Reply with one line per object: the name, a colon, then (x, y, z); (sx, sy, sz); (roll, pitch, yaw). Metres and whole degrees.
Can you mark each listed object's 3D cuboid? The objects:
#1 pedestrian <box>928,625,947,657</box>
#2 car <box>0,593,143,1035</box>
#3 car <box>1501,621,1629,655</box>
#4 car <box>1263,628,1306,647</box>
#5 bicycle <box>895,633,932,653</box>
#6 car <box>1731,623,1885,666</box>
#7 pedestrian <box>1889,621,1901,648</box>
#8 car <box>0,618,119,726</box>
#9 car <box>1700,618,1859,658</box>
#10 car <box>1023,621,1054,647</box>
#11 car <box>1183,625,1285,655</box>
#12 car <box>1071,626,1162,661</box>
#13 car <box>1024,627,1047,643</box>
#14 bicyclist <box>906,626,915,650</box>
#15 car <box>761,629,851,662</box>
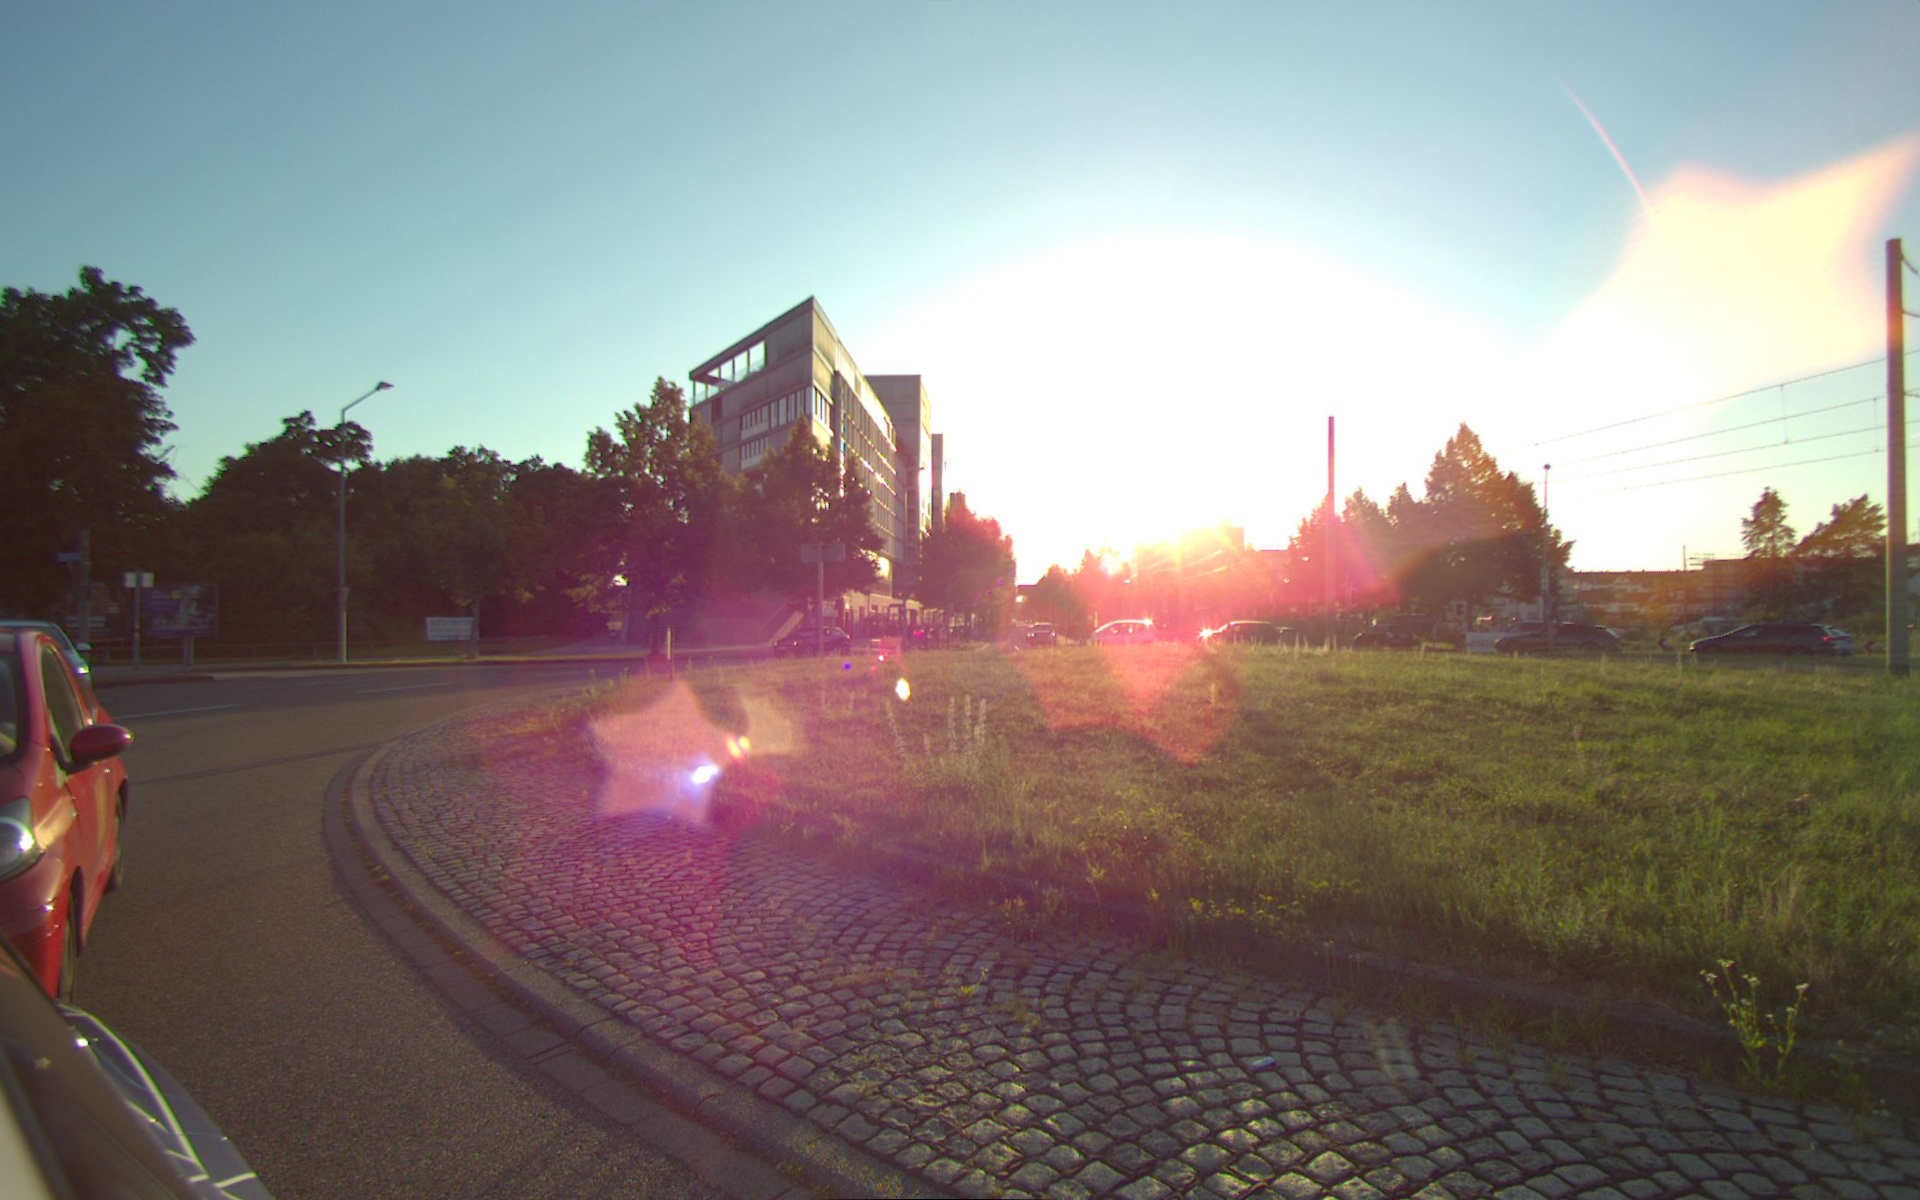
pedestrian: (-1.442, 2.595, 64.535); (0.995, 2.029, 0.768); (-1, 0, 29)
car: (-4.832, 0.722, 4.504); (1.662, 1.431, 4.009); (1, -1, -36)
car: (25.723, 1.597, 43.105); (4.351, 1.386, 1.972); (-1, -2, 42)
car: (25.822, 2.967, 80.749); (2.082, 1.377, 4.464); (0, -1, 2)
bicycle: (-2.899, 2.677, 63.052); (2.315, 1.254, 0.742); (0, -1, 0)
car: (36.441, 1.868, 43.634); (1.967, 1.719, 4.728); (1, -1, -35)
pedestrian: (47.154, 1.737, 51.045); (0.397, 1.318, 0.423); (-1, -2, 41)
car: (-15.864, 1.123, 16.719); (4.187, 1.618, 1.977); (-1, -1, 34)
car: (30.626, 1.387, 37.920); (1.969, 1.386, 4.389); (1, -2, -42)
car: (5.794, 2.548, 75.294); (1.972, 1.827, 5.303); (-1, -2, 1)
car: (12.951, 1.892, 48.014); (4.326, 1.386, 1.998); (0, -1, 3)
car: (7.336, 2.040, 47.712); (3.831, 1.592, 1.958); (0, -1, -7)
car: (7.239, 3.367, 97.070); (1.973, 1.464, 3.998); (0, -1, 1)
bicyclist: (-3.078, 2.351, 62.986); (0.602, 1.451, 0.692); (0, -1, -2)
car: (-6.817, 1.987, 45.149); (1.746, 1.389, 4.079); (-1, -1, 33)
